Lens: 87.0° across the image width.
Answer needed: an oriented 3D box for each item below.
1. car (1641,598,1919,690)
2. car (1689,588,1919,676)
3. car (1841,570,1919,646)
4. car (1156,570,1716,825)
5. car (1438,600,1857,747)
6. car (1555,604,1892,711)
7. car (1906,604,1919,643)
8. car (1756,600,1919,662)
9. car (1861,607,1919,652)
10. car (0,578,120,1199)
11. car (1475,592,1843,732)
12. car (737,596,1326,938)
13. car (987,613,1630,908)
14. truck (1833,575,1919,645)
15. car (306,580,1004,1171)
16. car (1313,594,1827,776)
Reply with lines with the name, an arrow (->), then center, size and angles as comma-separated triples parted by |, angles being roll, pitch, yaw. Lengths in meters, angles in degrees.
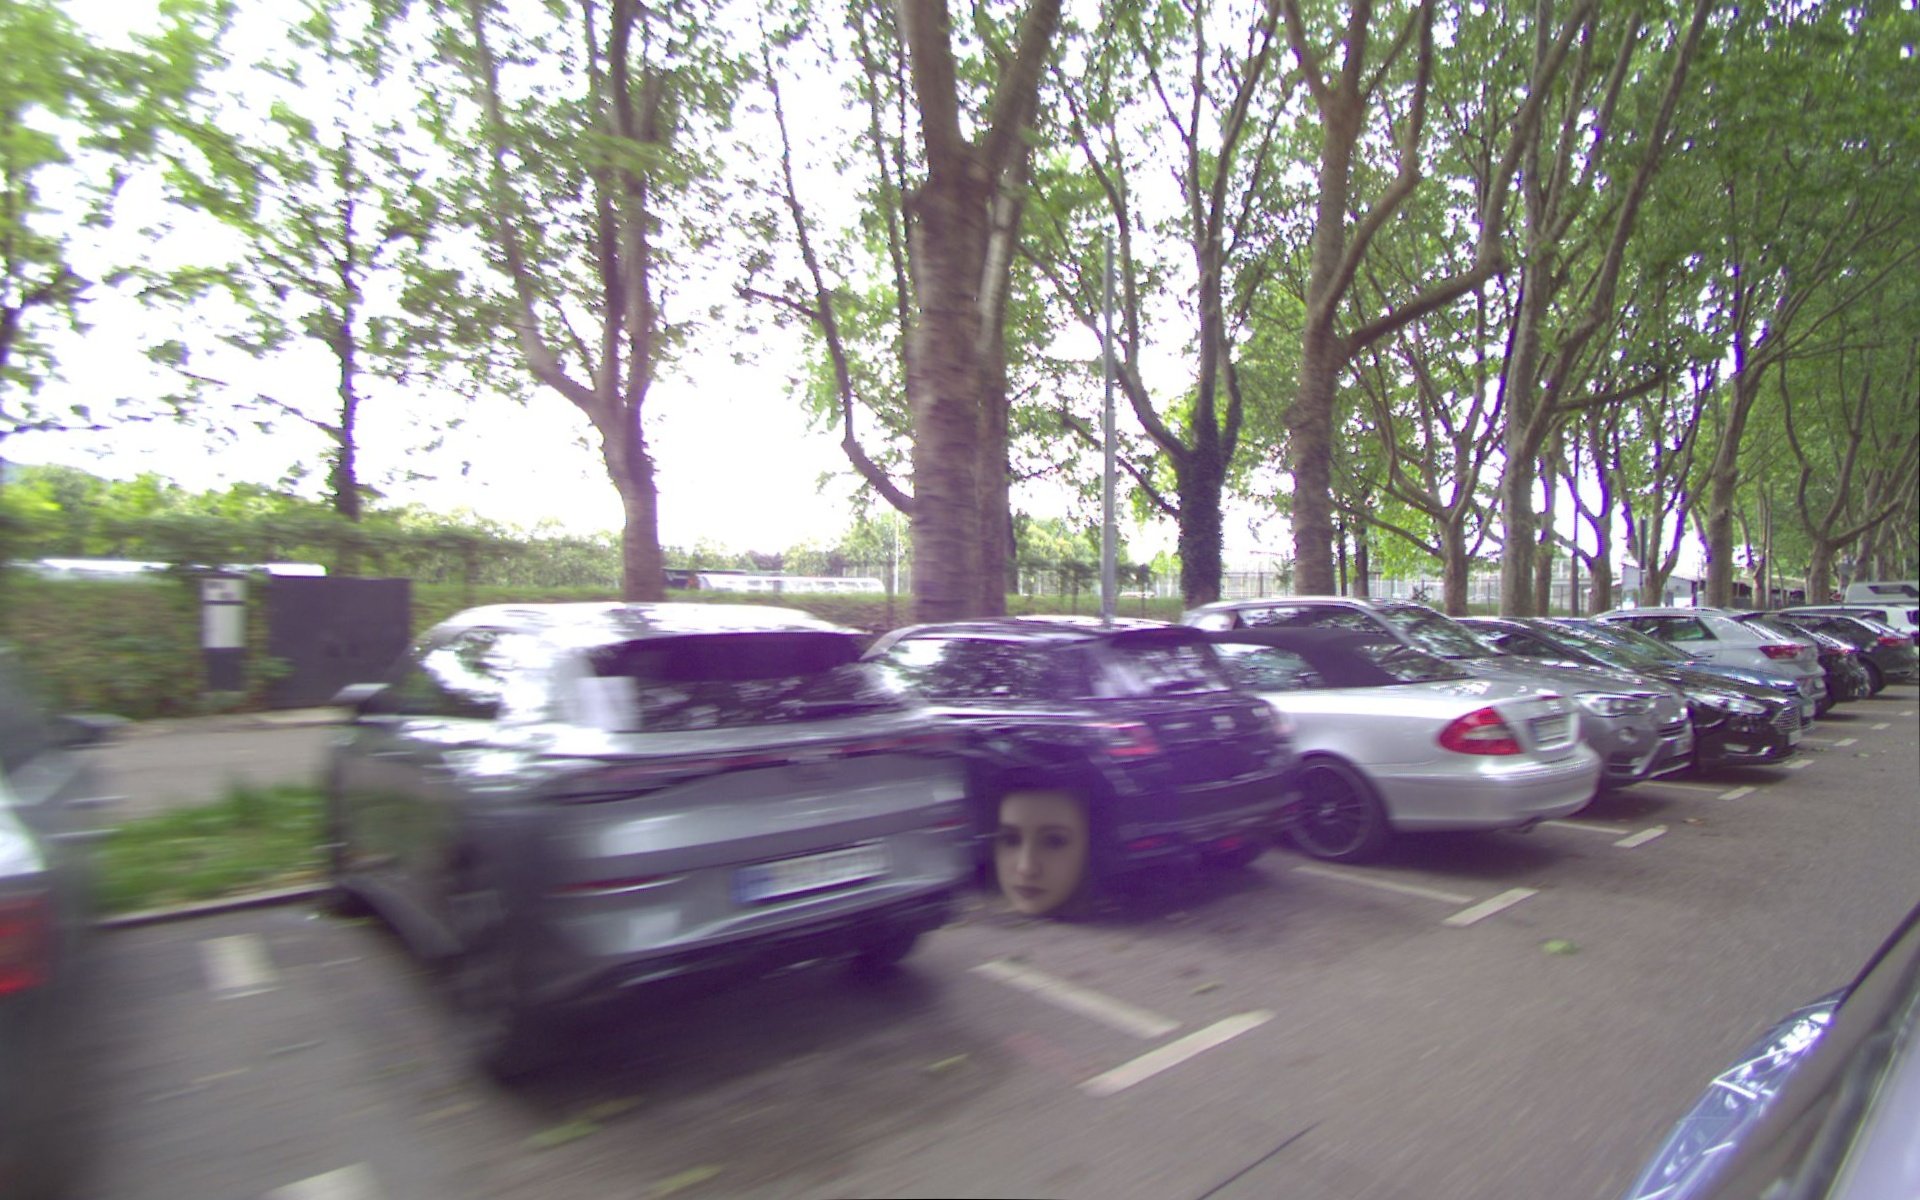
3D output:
car -> 15.138, 0.753, 18.653 | 1.665, 1.505, 3.992 | 0, -1, -41
car -> 19.059, 0.677, 22.410 | 1.767, 1.778, 4.395 | 0, -1, -37
car -> 35.422, 0.263, 36.474 | 1.922, 2.724, 5.239 | 1, -2, -39
car -> 3.864, 0.673, 8.849 | 1.664, 1.691, 4.121 | 0, -1, -39
car -> 8.037, 0.763, 12.227 | 1.660, 1.474, 3.843 | 0, -1, -29
car -> 11.445, 0.788, 15.370 | 1.665, 1.406, 3.832 | 0, -1, -41
car -> 42.525, 0.957, 42.108 | 1.770, 1.639, 4.351 | 0, -2, -37
car -> 23.883, 0.801, 26.514 | 1.673, 1.545, 4.508 | 0, -1, -41
car -> 31.995, 0.914, 32.622 | 1.672, 1.447, 4.128 | 0, -3, -38
car -> -3.442, 0.734, 2.847 | 1.595, 1.489, 4.373 | 1, -1, -40
car -> 9.344, 0.750, 13.763 | 1.665, 1.628, 3.832 | 0, -1, -41
car -> 0.163, 0.752, 6.403 | 1.594, 1.489, 3.784 | 0, -1, -38
car -> 2.175, 0.851, 7.298 | 1.664, 1.489, 4.121 | 0, -1, -40
truck -> 39.043, 0.396, 40.183 | 2.059, 2.750, 6.308 | 0, -1, -38
car -> -1.682, 0.719, 4.546 | 1.638, 1.489, 3.782 | 0, -1, -40
car -> 5.953, 0.717, 10.334 | 1.582, 1.470, 4.217 | 0, -1, -41
